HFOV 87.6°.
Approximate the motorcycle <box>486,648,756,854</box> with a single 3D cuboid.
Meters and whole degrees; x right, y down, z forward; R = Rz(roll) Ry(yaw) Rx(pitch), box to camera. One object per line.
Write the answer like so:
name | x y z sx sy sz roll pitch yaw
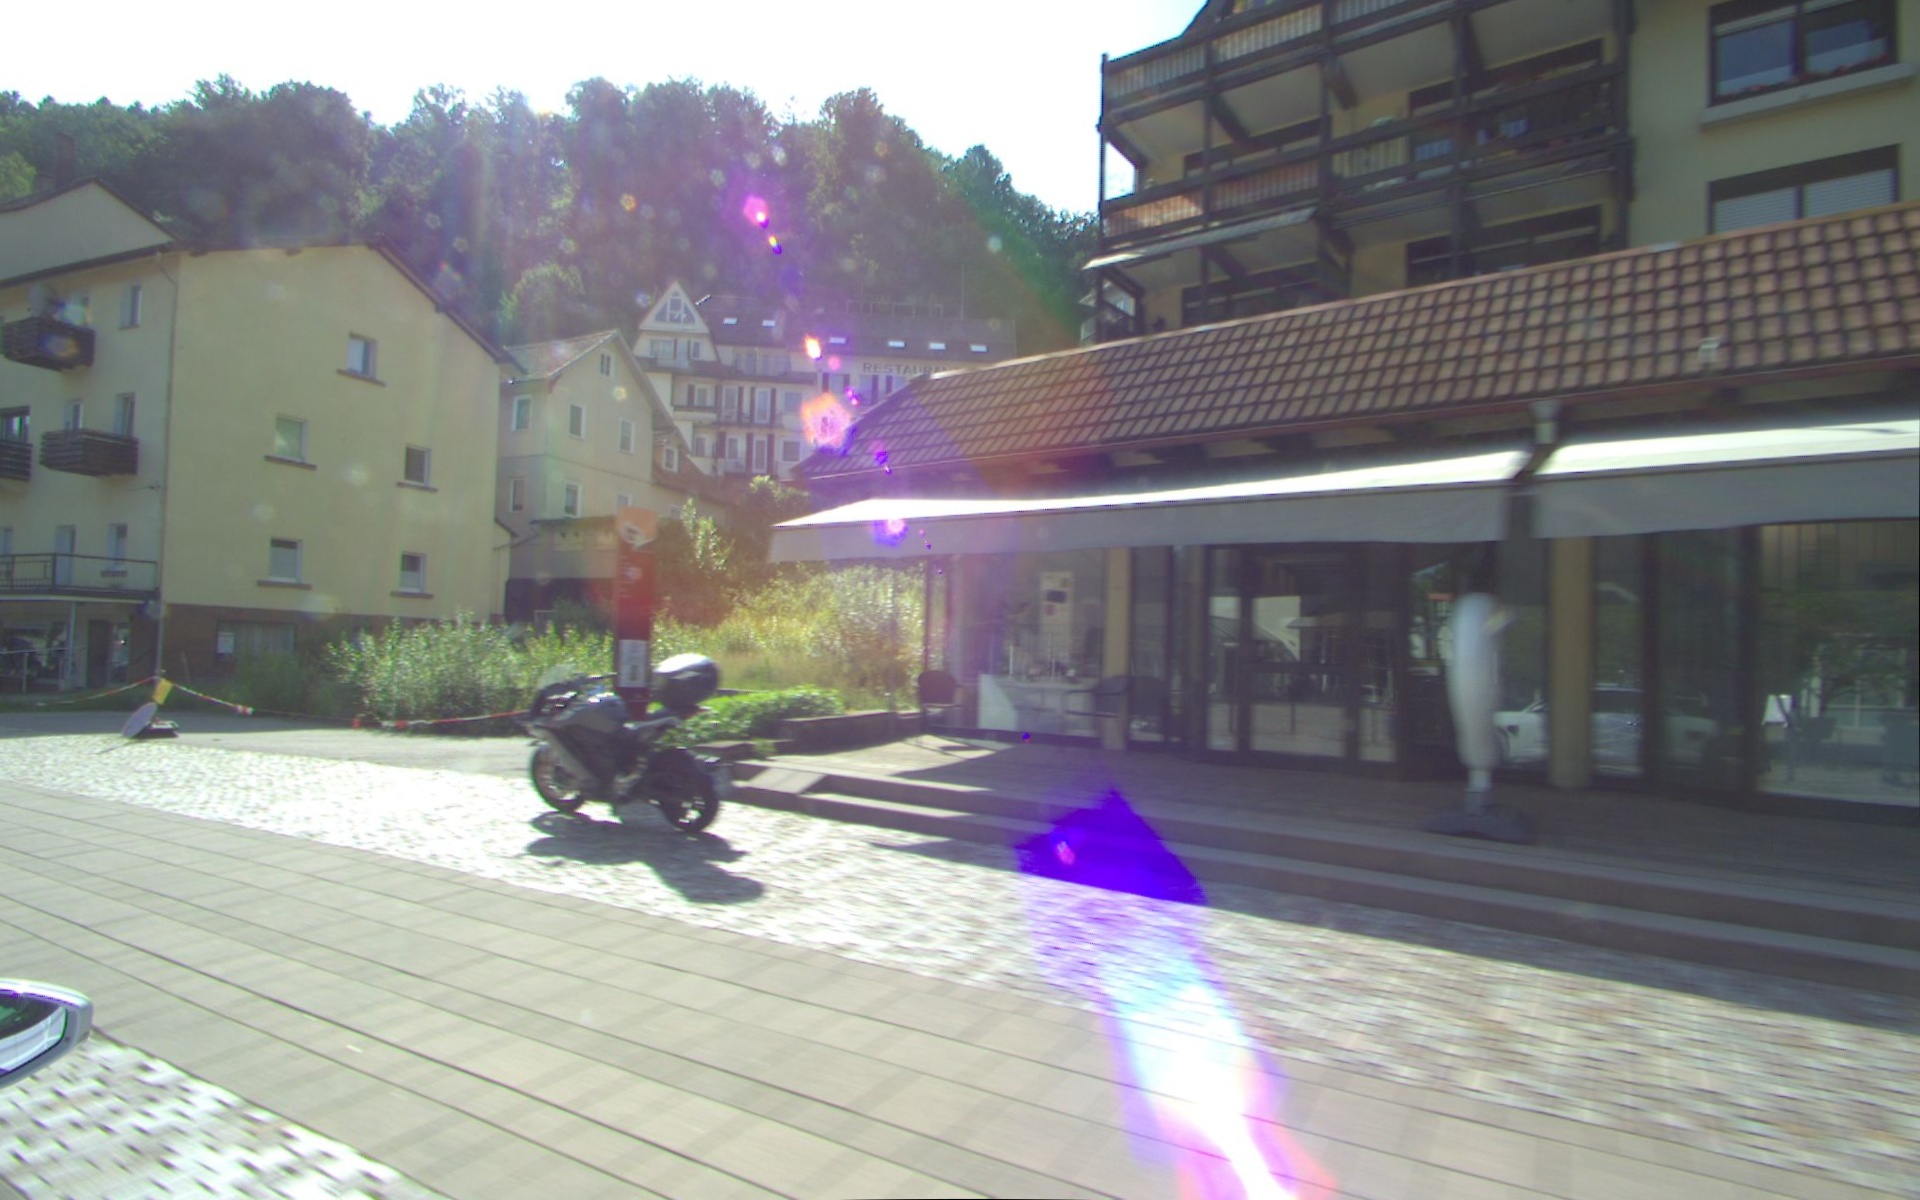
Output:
motorcycle | -2.588 1.046 7.536 2.180 1.313 0.696 0 -1 31
